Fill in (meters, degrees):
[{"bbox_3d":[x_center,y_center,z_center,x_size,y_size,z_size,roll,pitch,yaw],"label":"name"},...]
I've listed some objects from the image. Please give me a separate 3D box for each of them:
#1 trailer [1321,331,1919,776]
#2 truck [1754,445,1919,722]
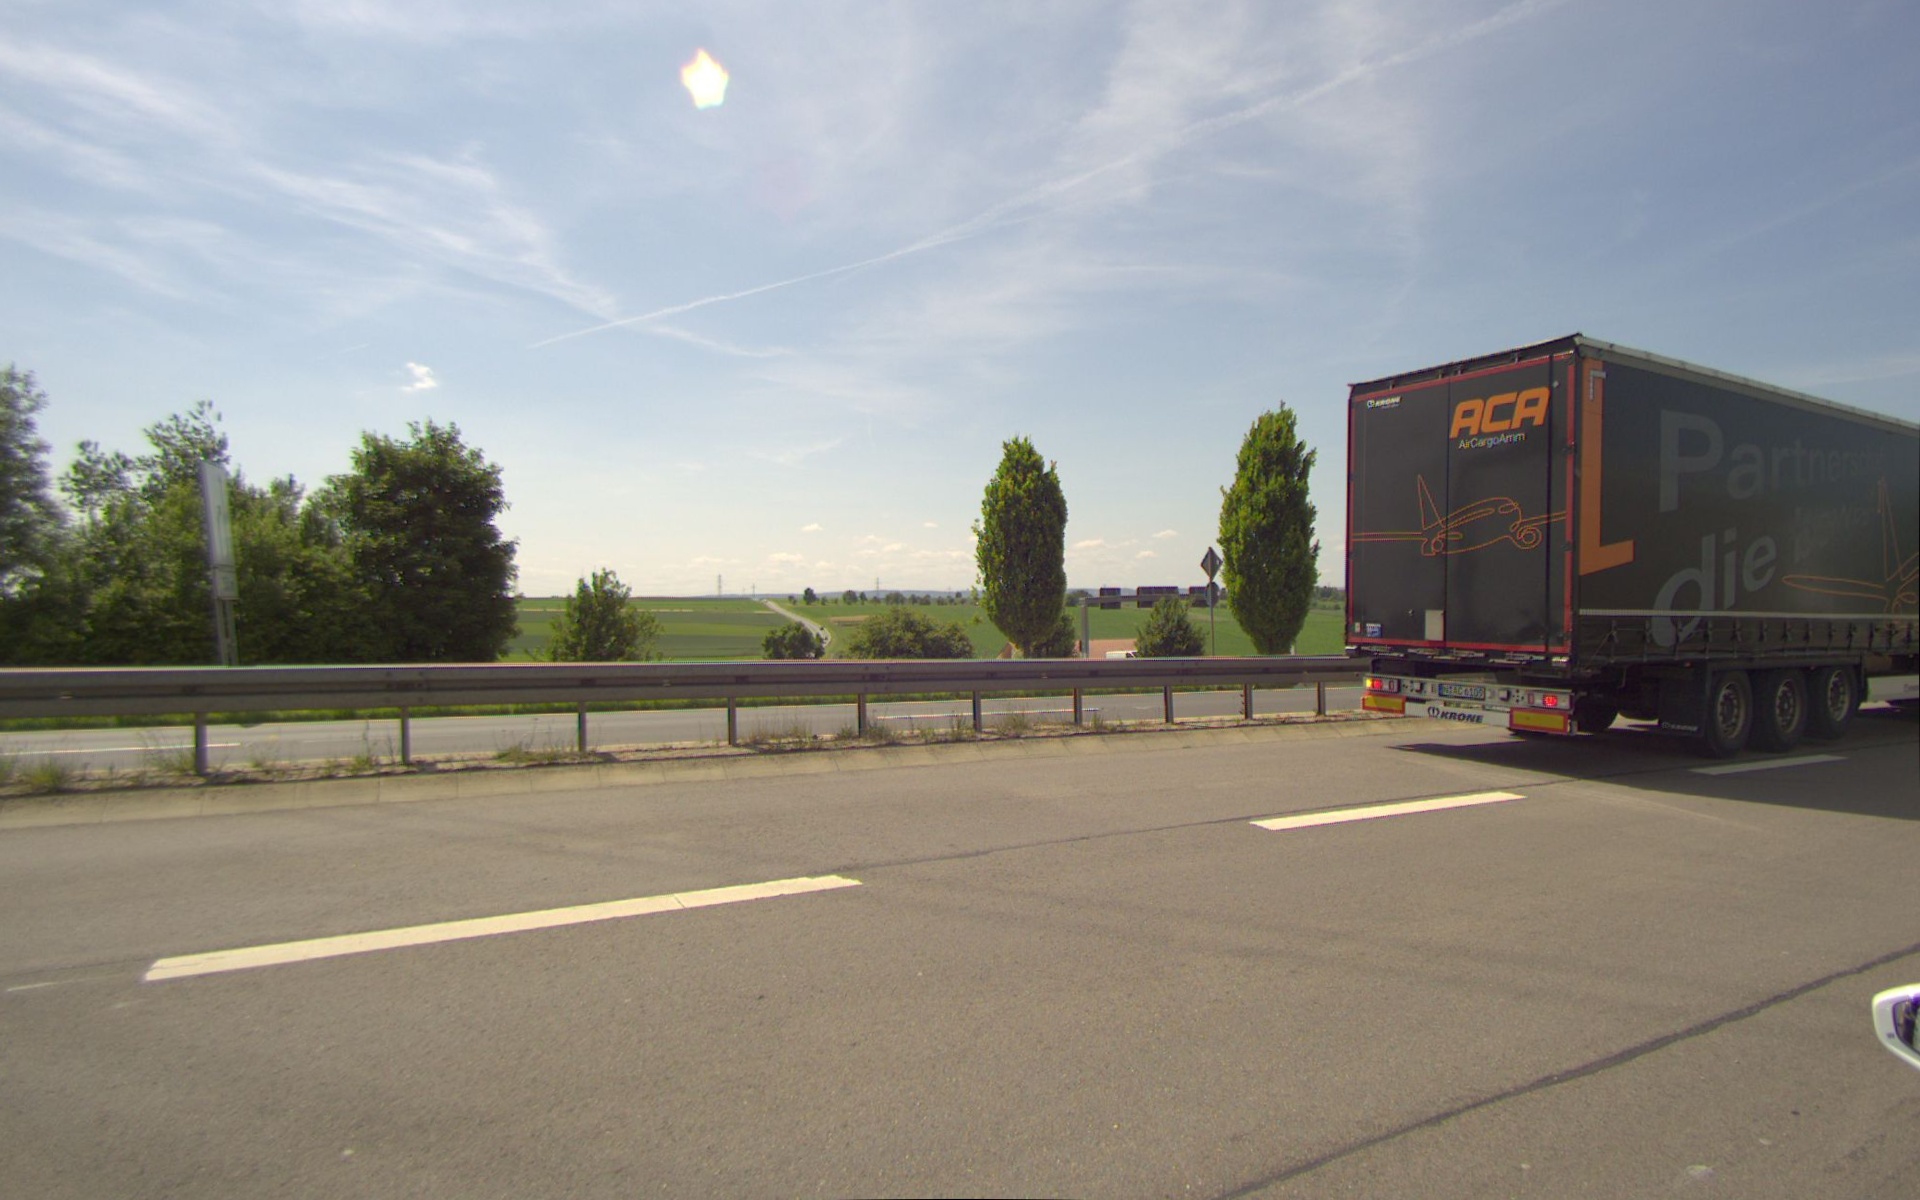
[{"bbox_3d":[10.716,-0.266,13.544,13.621,3.966,2.770,2,0,-30],"label":"trailer"},{"bbox_3d":[16.347,-0.189,16.782,5.899,4.067,2.770,1,0,-30],"label":"truck"}]
